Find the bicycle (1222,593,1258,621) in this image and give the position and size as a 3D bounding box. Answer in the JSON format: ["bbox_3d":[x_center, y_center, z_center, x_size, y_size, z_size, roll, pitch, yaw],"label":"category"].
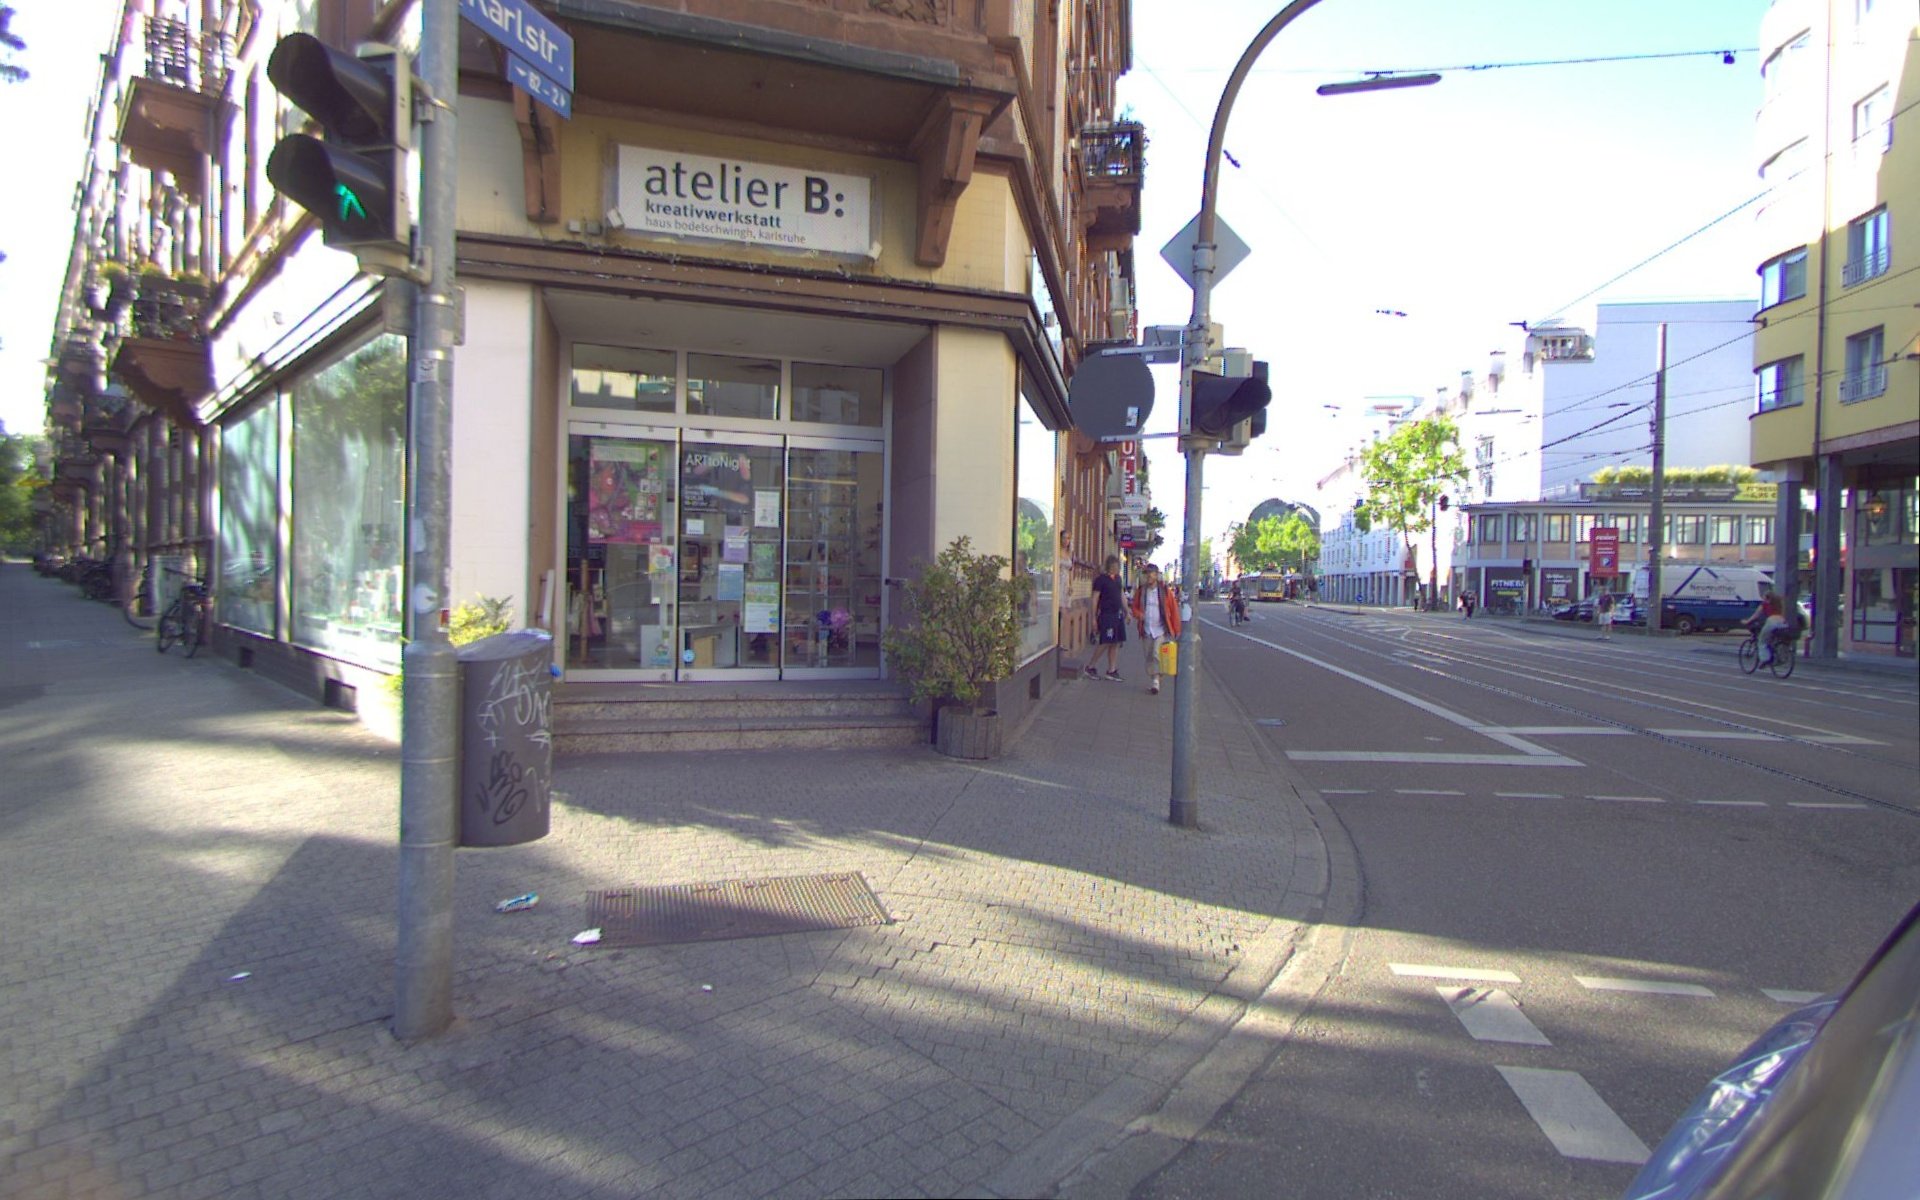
[{"bbox_3d":[11.016,0.262,39.917,1.058,1.015,3.053,1,1,10],"label":"bicycle"}]

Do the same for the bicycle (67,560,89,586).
[{"bbox_3d":[-34.530,-1.067,39.607,0.546,1.013,1.889,-2,4,-43],"label":"bicycle"}]

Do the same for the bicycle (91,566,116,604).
[{"bbox_3d":[-23.194,-0.421,27.394,0.399,0.974,1.863,-4,4,-43],"label":"bicycle"}]

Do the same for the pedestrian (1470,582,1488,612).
[{"bbox_3d":[29.501,-0.176,57.497,0.606,1.626,0.897,1,1,8],"label":"pedestrian"}]

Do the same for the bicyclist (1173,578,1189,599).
[{"bbox_3d":[16.046,-0.838,73.456,1.058,1.426,0.836,1,1,10],"label":"bicyclist"}]

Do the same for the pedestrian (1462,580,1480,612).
[{"bbox_3d":[28.594,-0.229,56.605,0.606,1.751,0.897,1,1,8],"label":"pedestrian"}]

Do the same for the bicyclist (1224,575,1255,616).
[{"bbox_3d":[11.032,-0.189,39.933,1.058,1.557,0.838,1,1,10],"label":"bicyclist"}]

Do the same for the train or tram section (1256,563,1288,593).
[{"bbox_3d":[34.218,-2.392,111.393,2.244,3.178,10.010,1,1,11],"label":"train or tram section"}]

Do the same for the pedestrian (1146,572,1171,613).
[{"bbox_3d":[9.189,-0.350,46.756,0.881,1.861,0.726,1,1,-14],"label":"pedestrian"}]

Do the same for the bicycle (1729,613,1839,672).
[{"bbox_3d":[16.252,0.811,20.022,0.667,1.016,1.961,1,1,5],"label":"bicycle"}]

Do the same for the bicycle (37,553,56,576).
[{"bbox_3d":[-47.187,-1.834,52.258,0.661,1.185,2.587,-3,3,-42],"label":"bicycle"}]

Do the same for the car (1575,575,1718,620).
[{"bbox_3d":[30.222,-0.131,44.721,4.747,1.860,2.051,1,1,14],"label":"car"}]

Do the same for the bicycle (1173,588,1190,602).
[{"bbox_3d":[16.036,-0.379,73.452,1.058,1.015,3.053,1,1,10],"label":"bicycle"}]

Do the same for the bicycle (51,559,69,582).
[{"bbox_3d":[-40.902,-1.354,45.991,0.546,1.013,1.889,-2,4,-43],"label":"bicycle"}]

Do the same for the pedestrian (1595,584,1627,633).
[{"bbox_3d":[23.005,0.297,35.773,0.714,1.716,0.688,1,1,9],"label":"pedestrian"}]

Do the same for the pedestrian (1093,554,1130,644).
[{"bbox_3d":[3.226,-0.032,21.544,0.713,1.861,0.897,1,1,11],"label":"pedestrian"}]

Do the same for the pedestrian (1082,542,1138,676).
[{"bbox_3d":[2.090,0.115,14.059,0.595,1.797,0.746,1,1,22],"label":"pedestrian"}]

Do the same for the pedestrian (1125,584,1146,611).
[{"bbox_3d":[8.031,-0.116,46.385,0.885,1.191,0.723,1,1,8],"label":"pedestrian"}]

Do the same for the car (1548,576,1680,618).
[{"bbox_3d":[30.632,-0.162,47.580,4.747,1.860,2.051,1,1,14],"label":"car"}]

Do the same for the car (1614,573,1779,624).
[{"bbox_3d":[28.928,-0.075,39.920,4.747,1.860,2.051,1,1,14],"label":"car"}]

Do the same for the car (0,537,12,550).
[{"bbox_3d":[-145.042,-8.569,151.719,3.924,1.882,1.751,1,1,-36],"label":"car"}]

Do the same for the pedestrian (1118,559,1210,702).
[{"bbox_3d":[2.562,0.355,12.856,0.990,1.701,1.172,1,1,6],"label":"pedestrian"}]

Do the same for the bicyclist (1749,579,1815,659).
[{"bbox_3d":[16.257,0.367,20.034,0.667,1.538,0.755,1,1,5],"label":"bicyclist"}]

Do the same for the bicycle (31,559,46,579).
[{"bbox_3d":[-57.663,-1.961,63.316,0.661,1.185,2.587,-3,3,-42],"label":"bicycle"}]

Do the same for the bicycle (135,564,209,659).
[{"bbox_3d":[-10.913,0.098,13.981,0.661,1.185,2.589,-3,3,-41],"label":"bicycle"}]

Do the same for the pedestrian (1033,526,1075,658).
[{"bbox_3d":[1.322,-0.116,14.142,0.540,1.797,0.570,1,1,6],"label":"pedestrian"}]

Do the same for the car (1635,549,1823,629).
[{"bbox_3d":[28.341,-0.438,37.487,5.072,2.792,2.051,1,1,14],"label":"car"}]

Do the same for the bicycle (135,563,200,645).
[{"bbox_3d":[-12.567,0.021,16.015,0.661,1.185,2.589,-3,3,-41],"label":"bicycle"}]

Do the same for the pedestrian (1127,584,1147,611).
[{"bbox_3d":[8.238,-0.123,47.171,0.885,1.191,0.723,1,1,8],"label":"pedestrian"}]

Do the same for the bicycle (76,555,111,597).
[{"bbox_3d":[-25.519,-0.725,29.799,0.661,1.185,2.587,-3,3,-42],"label":"bicycle"}]

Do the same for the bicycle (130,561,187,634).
[{"bbox_3d":[-14.238,-0.083,17.949,0.661,1.185,2.589,-3,3,-41],"label":"bicycle"}]
